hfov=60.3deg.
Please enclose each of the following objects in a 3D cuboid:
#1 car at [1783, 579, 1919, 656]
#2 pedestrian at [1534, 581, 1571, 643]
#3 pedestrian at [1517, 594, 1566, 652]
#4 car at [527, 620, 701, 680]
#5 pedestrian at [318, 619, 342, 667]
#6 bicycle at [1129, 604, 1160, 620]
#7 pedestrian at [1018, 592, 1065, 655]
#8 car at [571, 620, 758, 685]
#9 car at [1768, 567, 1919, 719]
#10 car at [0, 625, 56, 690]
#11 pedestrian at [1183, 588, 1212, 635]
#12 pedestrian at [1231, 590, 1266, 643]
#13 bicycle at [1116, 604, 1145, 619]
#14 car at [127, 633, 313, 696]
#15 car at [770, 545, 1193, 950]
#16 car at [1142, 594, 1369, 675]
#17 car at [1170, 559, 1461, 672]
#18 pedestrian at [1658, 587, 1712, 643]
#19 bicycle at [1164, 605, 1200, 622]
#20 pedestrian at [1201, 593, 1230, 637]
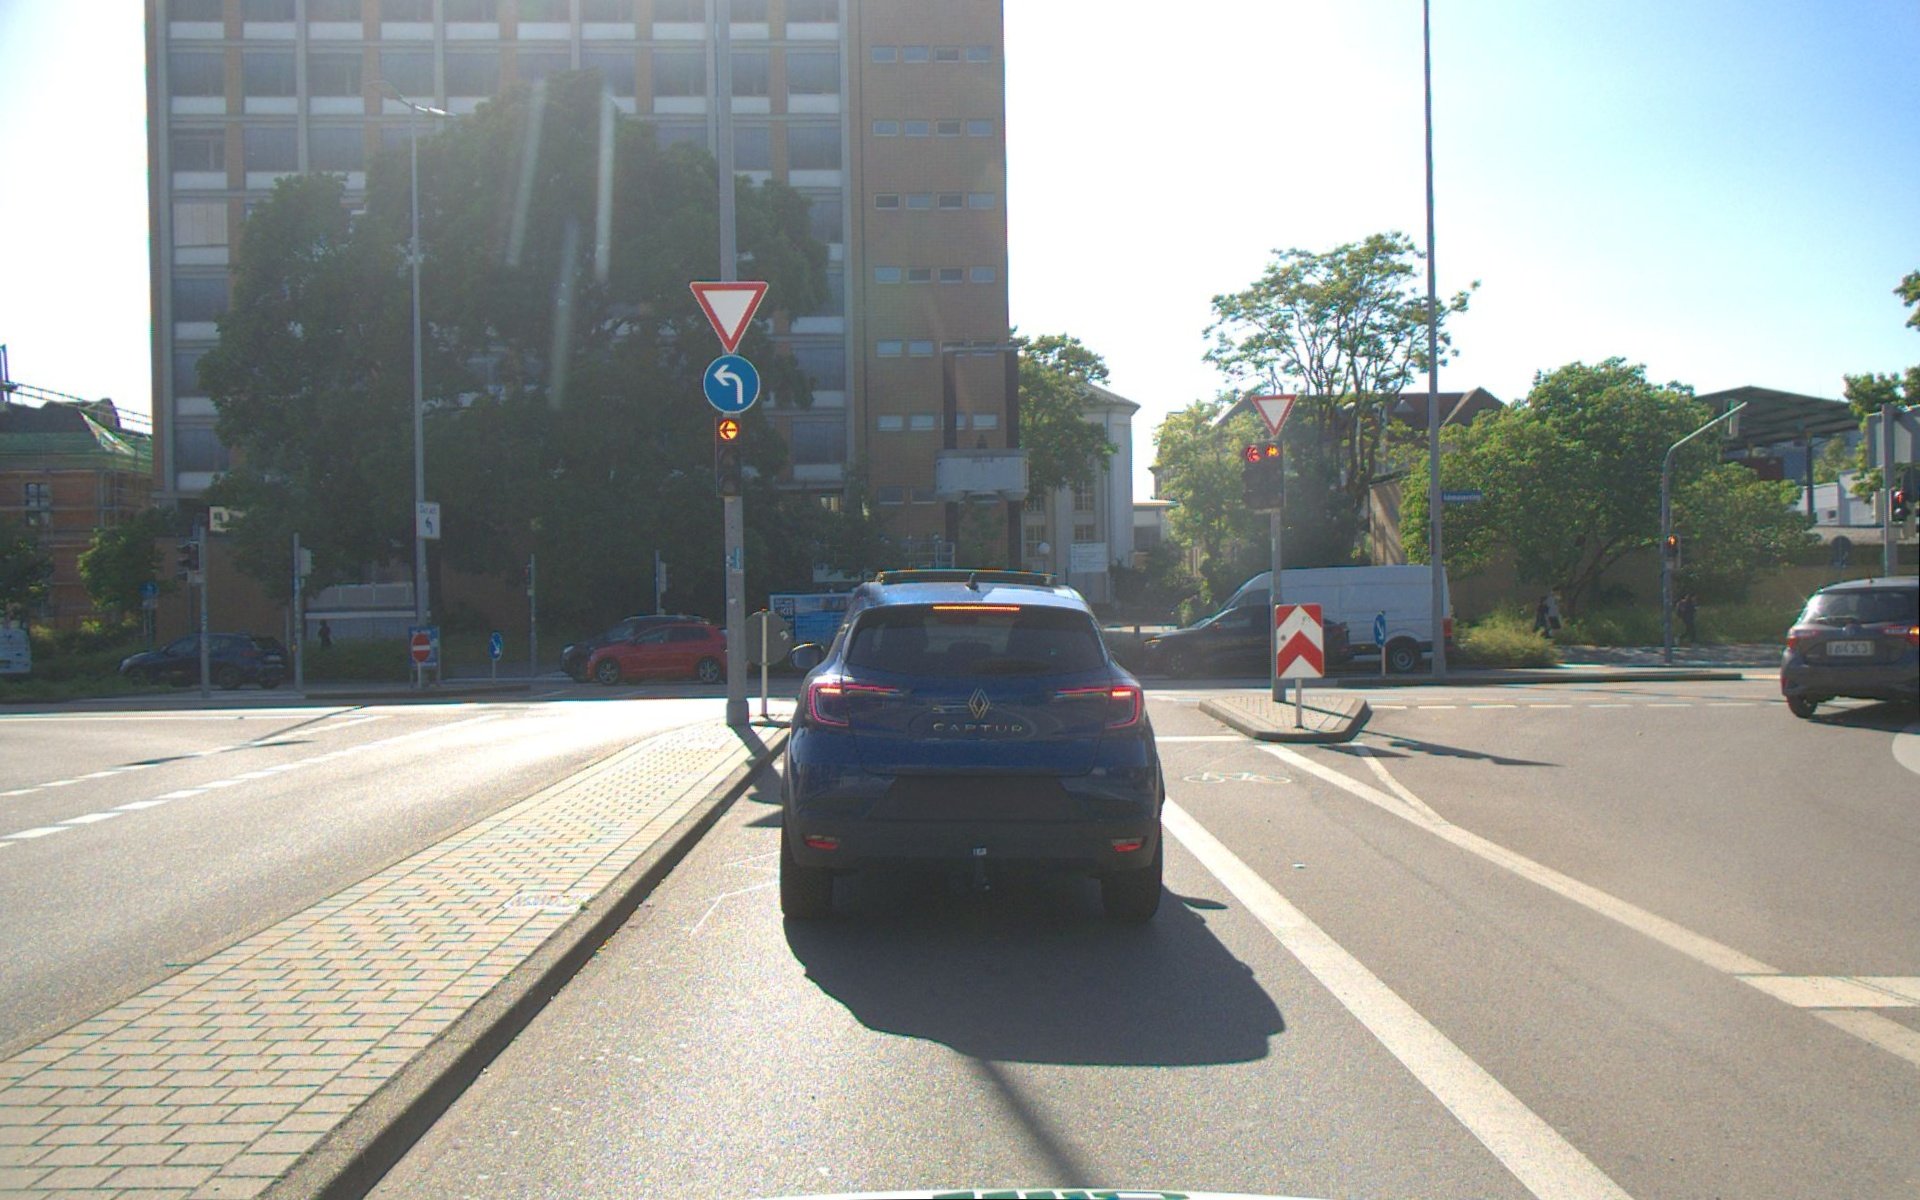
[{"bbox_3d":[20.954,0.354,36.293,4.740,1.609,2.103,-1,0,5],"label":"car"},{"bbox_3d":[17.099,0.355,47.738,0.943,1.762,0.926,-1,0,17],"label":"pedestrian"},{"bbox_3d":[15.919,0.616,45.306,1.052,1.547,0.879,-1,0,4],"label":"pedestrian"},{"bbox_3d":[-9.092,1.308,43.611,3.958,1.464,2.067,-1,0,14],"label":"car"},{"bbox_3d":[-21.200,1.455,55.663,0.522,1.598,0.555,-1,0,24],"label":"pedestrian"},{"bbox_3d":[10.974,0.715,98.572,1.735,0.914,0.765,-1,0,-1],"label":"bicycle"},{"bbox_3d":[2.467,0.706,50.034,1.269,1.888,0.967,-1,0,10],"label":"pedestrian"},{"bbox_3d":[-7.122,1.255,40.069,3.958,1.464,2.067,-1,0,9],"label":"car"},{"bbox_3d":[11.085,0.415,19.208,3.966,1.542,1.716,-2,2,-42],"label":"car"},{"bbox_3d":[-30.583,1.780,51.292,4.083,1.913,2.216,-1,0,17],"label":"car"},{"bbox_3d":[9.166,0.445,63.890,0.933,1.772,0.984,-1,0,-1],"label":"pedestrian"},{"bbox_3d":[11.430,0.660,65.473,1.132,2.049,1.164,-1,0,-1],"label":"pedestrian"},{"bbox_3d":[10.620,0.734,102.930,1.735,0.908,0.765,-1,0,-1],"label":"bicycle"},{"bbox_3d":[-19.076,1.656,42.720,3.817,1.474,2.103,-1,0,8],"label":"car"},{"bbox_3d":[0.033,0.607,8.862,1.758,1.684,3.852,1,0,-2],"label":"car"},{"bbox_3d":[6.626,0.772,37.522,4.923,1.702,2.001,1,-1,6],"label":"car"},{"bbox_3d":[8.700,0.375,41.173,6.787,2.591,3.015,-1,0,8],"label":"car"},{"bbox_3d":[20.449,0.412,46.652,1.122,1.547,0.942,-1,0,5],"label":"pedestrian"},{"bbox_3d":[11.653,0.695,86.782,1.739,0.837,0.763,-1,0,-11],"label":"bicycle"},{"bbox_3d":[9.805,0.575,63.559,0.917,1.641,1.175,-1,0,-1],"label":"pedestrian"}]
